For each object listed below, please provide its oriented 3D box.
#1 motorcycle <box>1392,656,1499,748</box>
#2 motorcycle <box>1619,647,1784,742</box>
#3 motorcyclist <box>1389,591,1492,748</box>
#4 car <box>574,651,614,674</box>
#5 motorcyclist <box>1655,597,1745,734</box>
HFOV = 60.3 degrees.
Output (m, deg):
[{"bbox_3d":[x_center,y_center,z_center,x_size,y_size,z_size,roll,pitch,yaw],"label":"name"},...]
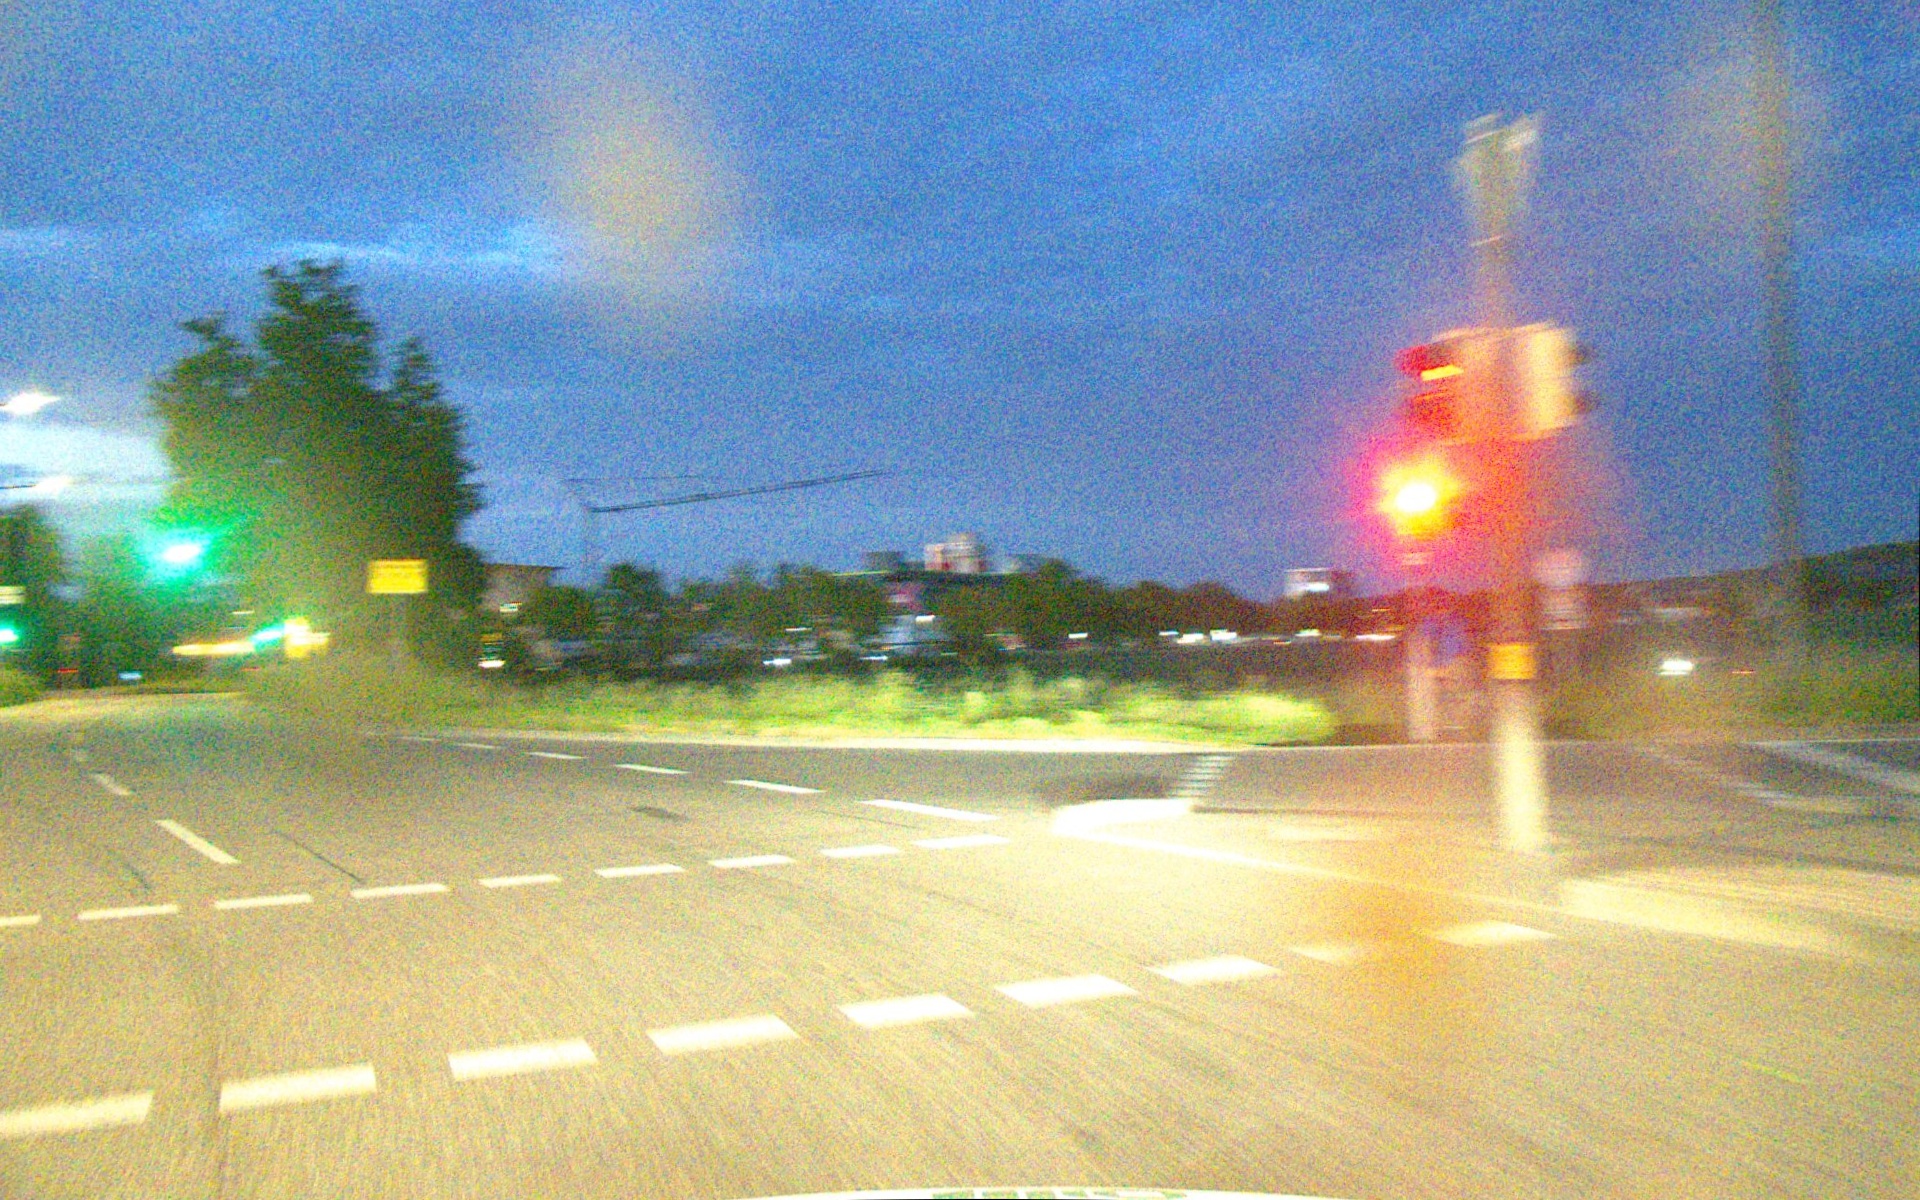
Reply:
[{"bbox_3d":[5.954,1.272,20.243,0.709,1.051,1.570,-6,-8,37],"label":"motorcycle"},{"bbox_3d":[9.935,1.276,22.212,1.780,1.202,0.849,-1,-5,-4],"label":"motorcycle"},{"bbox_3d":[5.884,0.872,20.257,0.899,1.841,0.866,-6,-8,37],"label":"motorcyclist"},{"bbox_3d":[-35.416,6.003,160.169,1.952,2.049,4.000,-1,0,21],"label":"car"},{"bbox_3d":[9.931,0.886,22.219,0.772,1.790,0.683,-1,-5,-4],"label":"motorcyclist"}]
